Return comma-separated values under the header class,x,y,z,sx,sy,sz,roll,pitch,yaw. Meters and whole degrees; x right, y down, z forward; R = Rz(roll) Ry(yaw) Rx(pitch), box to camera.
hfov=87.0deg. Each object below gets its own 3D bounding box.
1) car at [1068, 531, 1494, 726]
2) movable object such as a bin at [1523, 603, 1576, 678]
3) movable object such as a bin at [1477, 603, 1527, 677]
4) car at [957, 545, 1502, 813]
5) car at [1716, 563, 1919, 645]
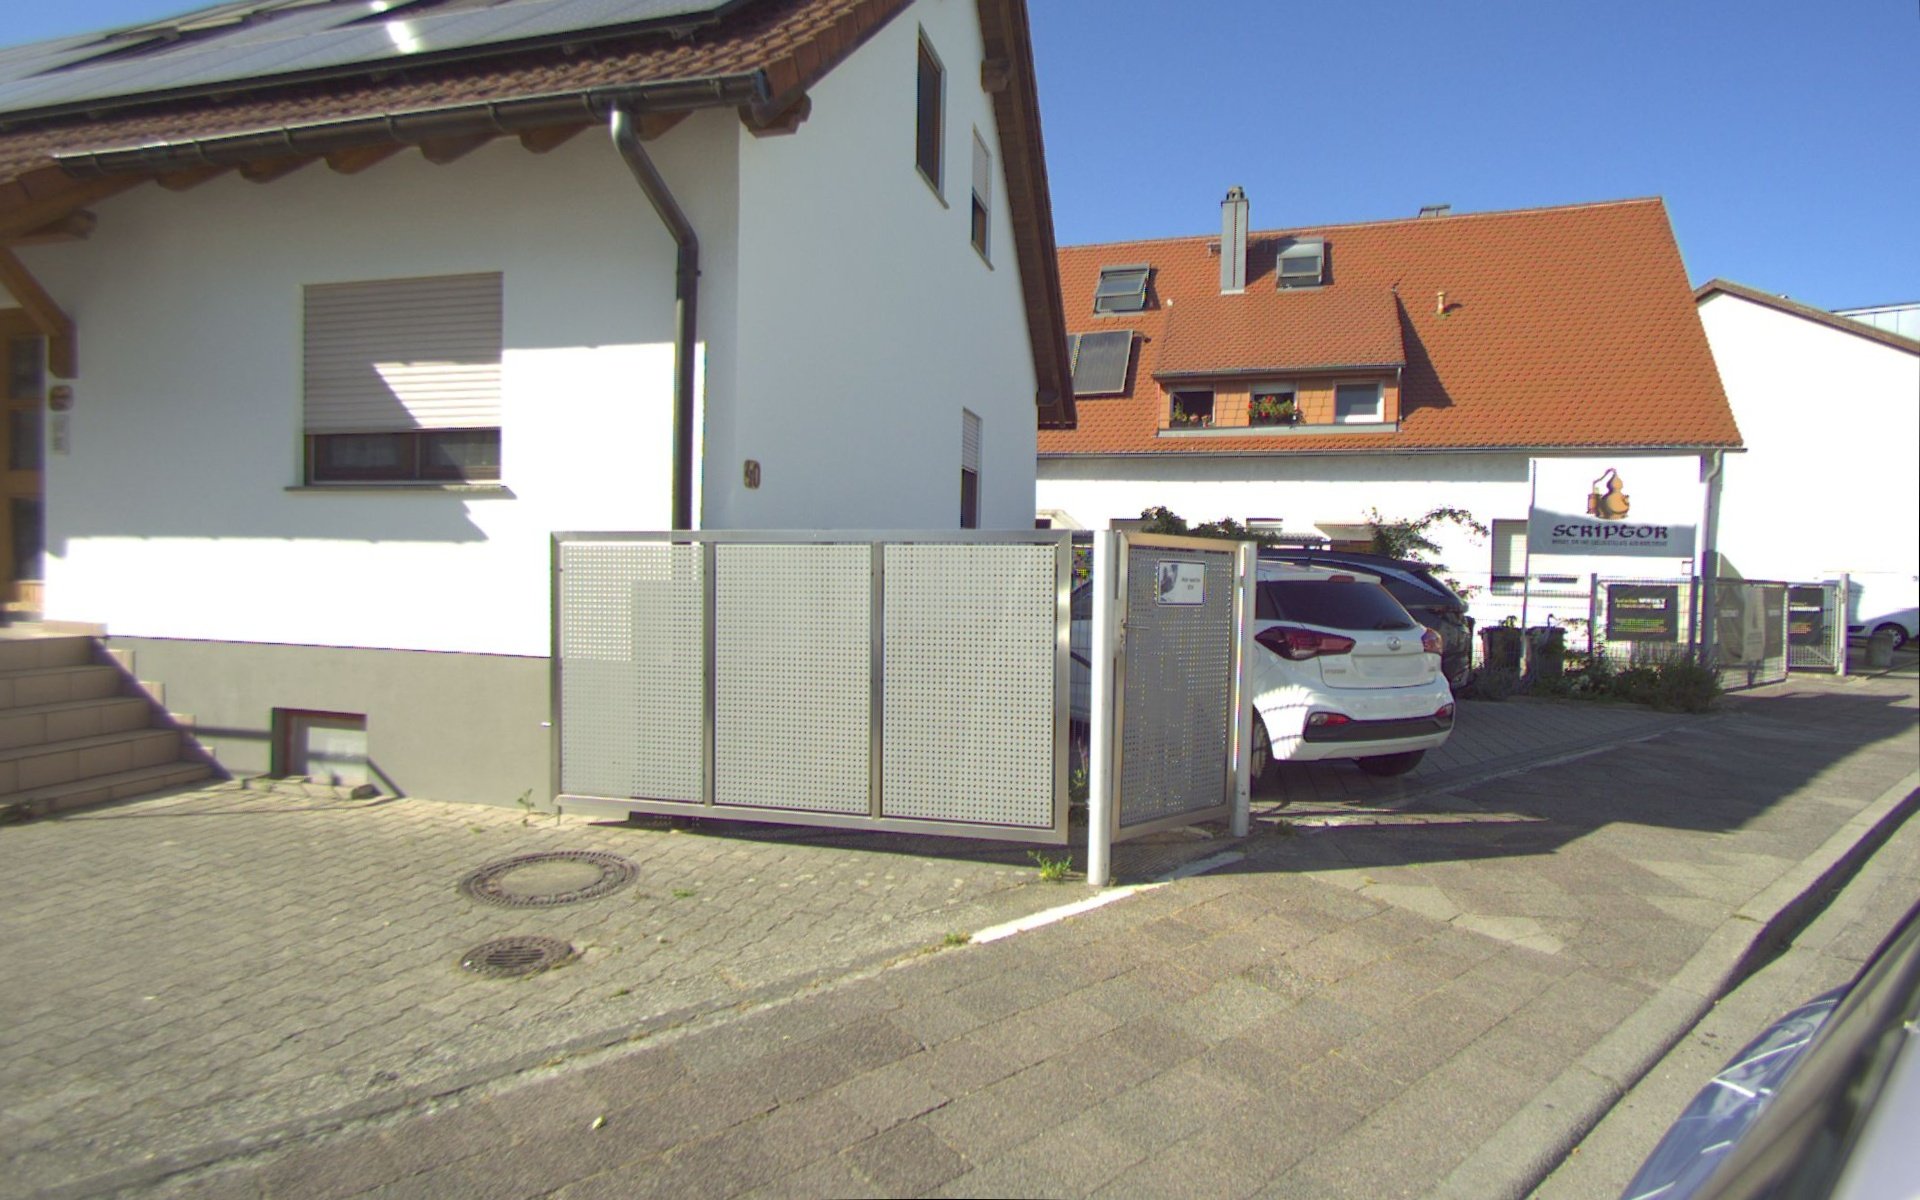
class,x,y,z,sx,sy,sz,roll,pitch,yaw
car,3.380,0.193,10.921,4.006,1.709,1.896,3,2,24
movable object such as a bin,7.569,0.516,13.001,0.510,0.934,0.420,-1,0,21
movable object such as a bin,7.067,0.511,13.209,0.510,0.934,0.420,-1,0,21
car,1.766,0.359,7.882,1.810,1.510,3.930,0,3,-31
car,24.113,0.058,28.102,4.761,1.909,1.880,6,4,42
